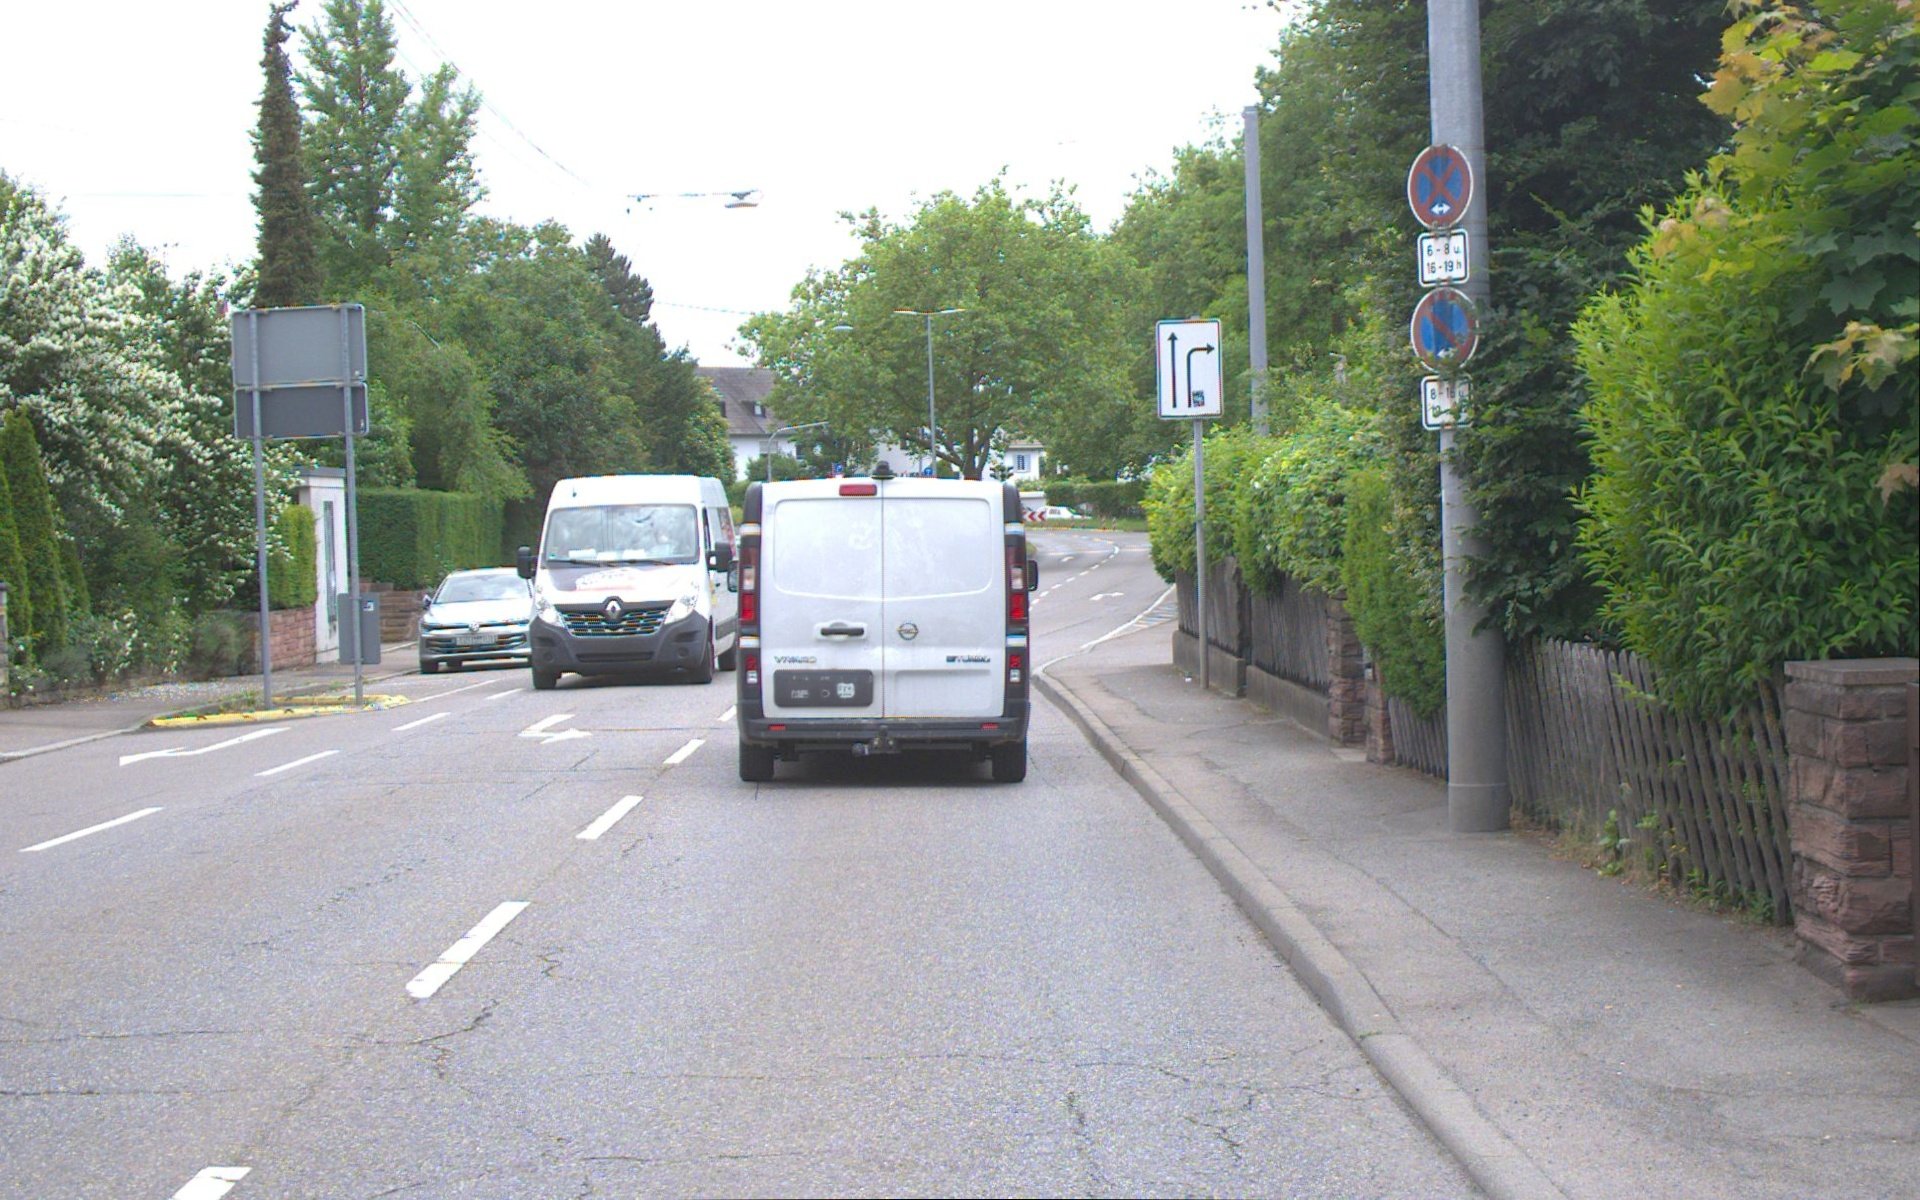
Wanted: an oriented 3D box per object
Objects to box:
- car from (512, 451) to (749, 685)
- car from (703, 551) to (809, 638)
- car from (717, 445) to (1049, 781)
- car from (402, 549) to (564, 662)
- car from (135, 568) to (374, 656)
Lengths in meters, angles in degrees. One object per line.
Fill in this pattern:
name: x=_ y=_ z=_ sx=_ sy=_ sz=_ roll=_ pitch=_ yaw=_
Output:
car: x=-3.770 y=-0.364 z=40.463 sx=2.111 sy=2.490 sz=6.124 roll=-2 pitch=0 yaw=0
car: x=-3.850 y=-0.136 z=65.584 sx=1.734 sy=1.548 sz=4.448 roll=-2 pitch=1 yaw=0
car: x=-0.537 y=0.036 z=23.534 sx=2.006 sy=2.031 sz=5.010 roll=1 pitch=1 yaw=-2
car: x=-6.979 y=0.045 z=50.672 sx=1.809 sy=1.450 sz=4.414 roll=-4 pitch=1 yaw=-2
car: x=-12.145 y=0.201 z=59.301 sx=3.589 sy=1.386 sz=1.849 roll=-1 pitch=1 yaw=9
